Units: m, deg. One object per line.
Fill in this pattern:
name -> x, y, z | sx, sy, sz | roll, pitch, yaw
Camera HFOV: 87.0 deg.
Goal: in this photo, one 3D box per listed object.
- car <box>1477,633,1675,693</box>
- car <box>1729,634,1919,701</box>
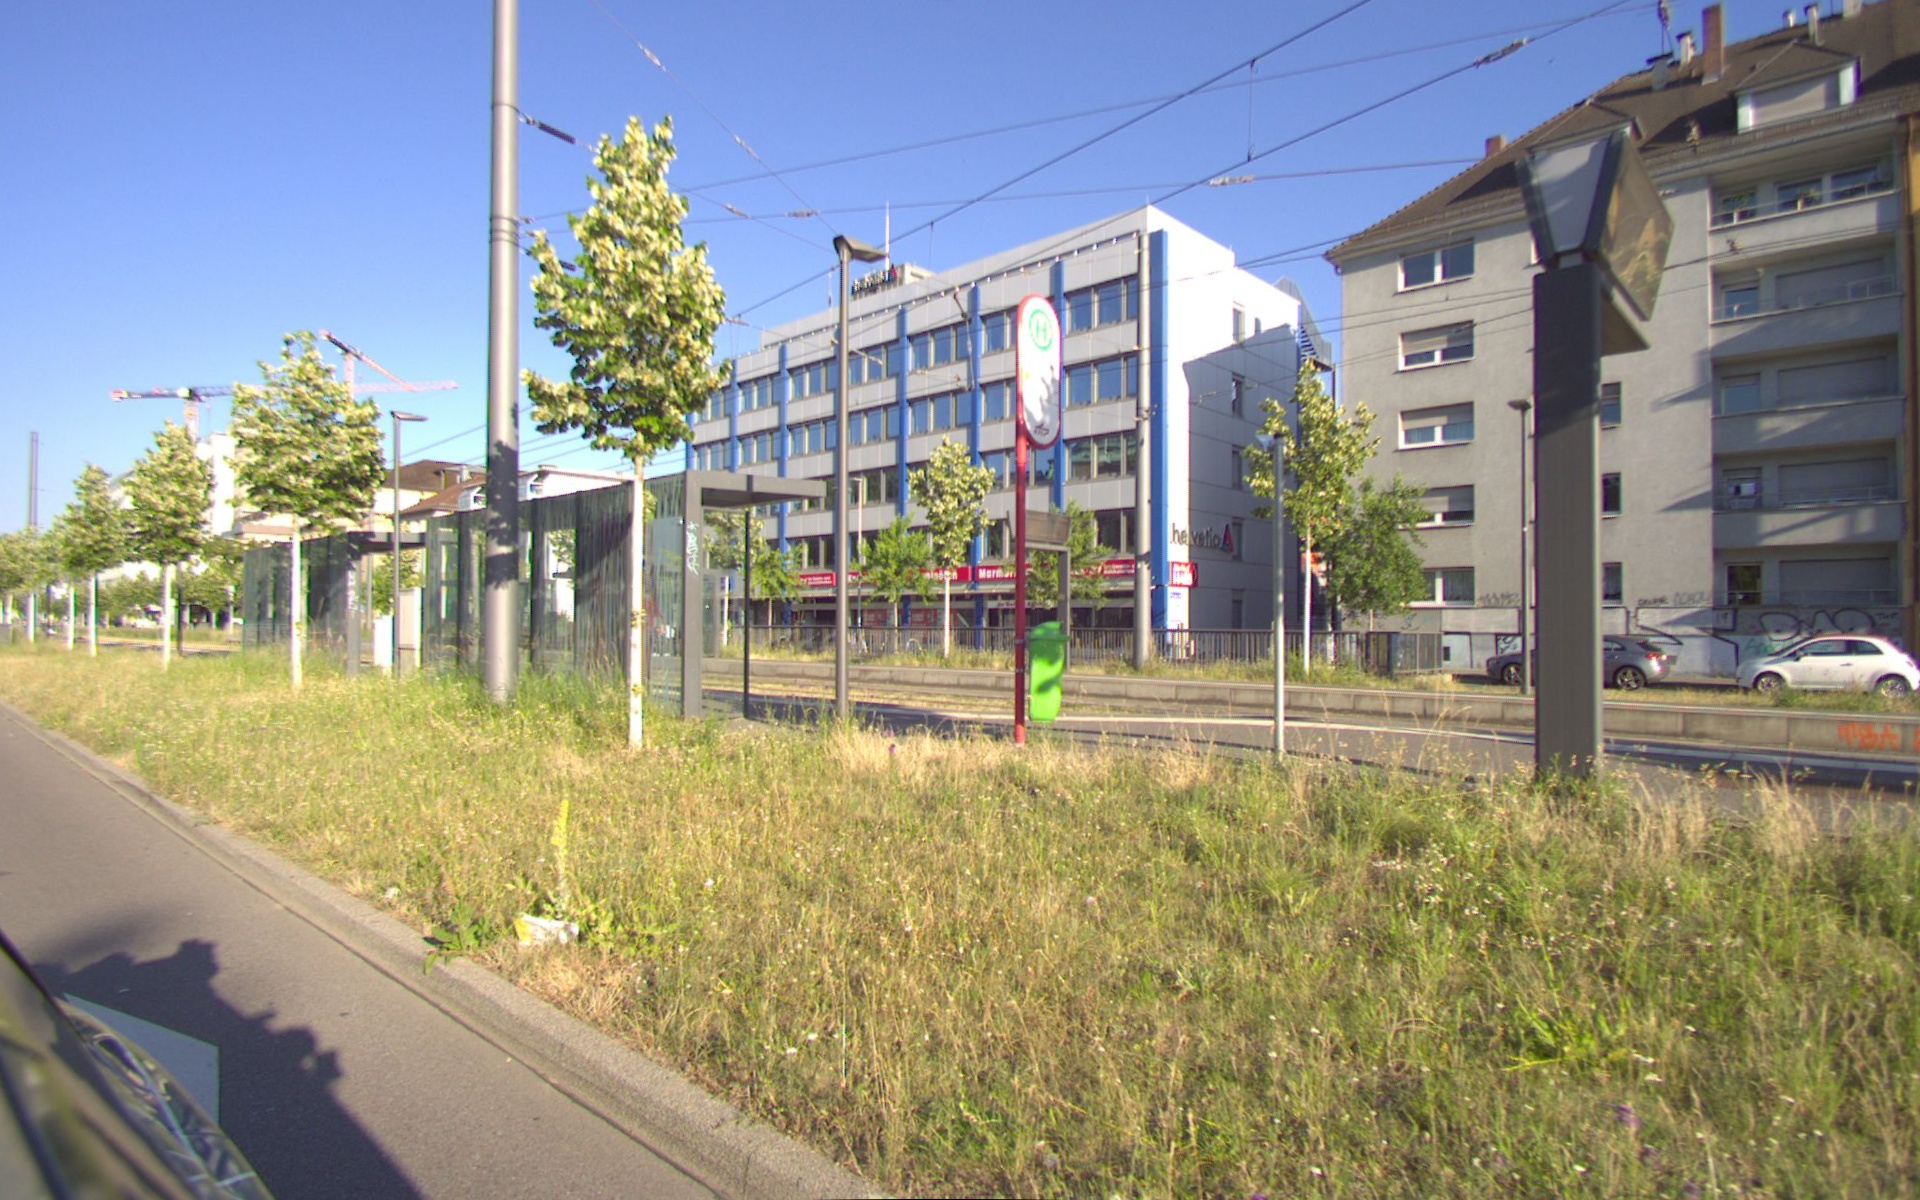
car -> 17.062, 1.692, 28.156 | 4.430, 1.519, 1.972 | -1, -2, 42
car -> 20.998, 1.579, 24.602 | 3.552, 1.497, 1.728 | -1, -2, 42
